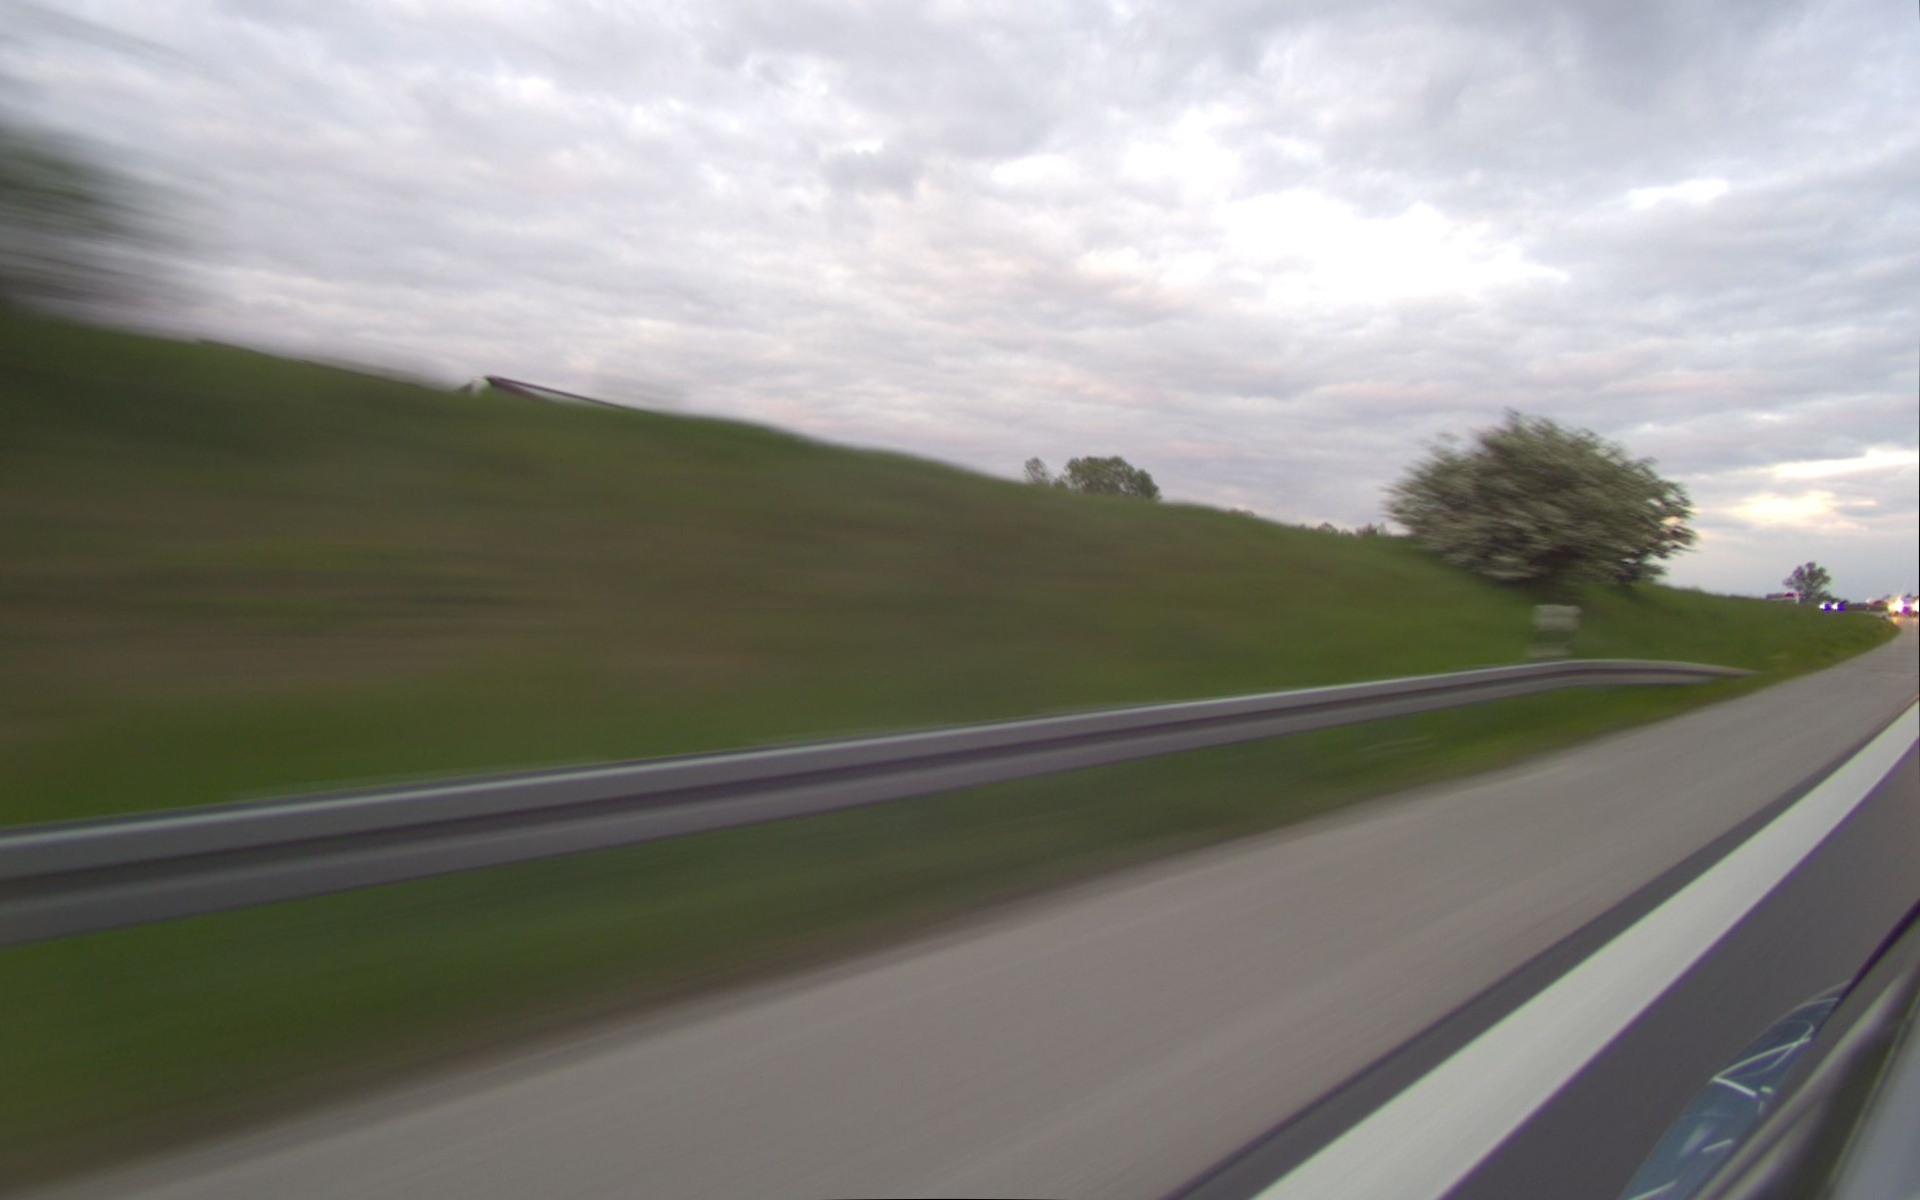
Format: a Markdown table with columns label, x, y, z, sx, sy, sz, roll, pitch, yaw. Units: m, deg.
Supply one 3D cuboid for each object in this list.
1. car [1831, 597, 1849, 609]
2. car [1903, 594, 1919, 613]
| label | x | y | z | sx | sy | sz | roll | pitch | yaw |
| --- | --- | --- | --- | --- | --- | --- | --- | --- | --- |
| car | 137.992 | 0.458 | 158.700 | 1.793 | 1.665 | 4.041 | 1 | 1 | 36 |
| car | 98.019 | 0.332 | 103.549 | 1.913 | 1.860 | 3.942 | 3 | 2 | 40 |
